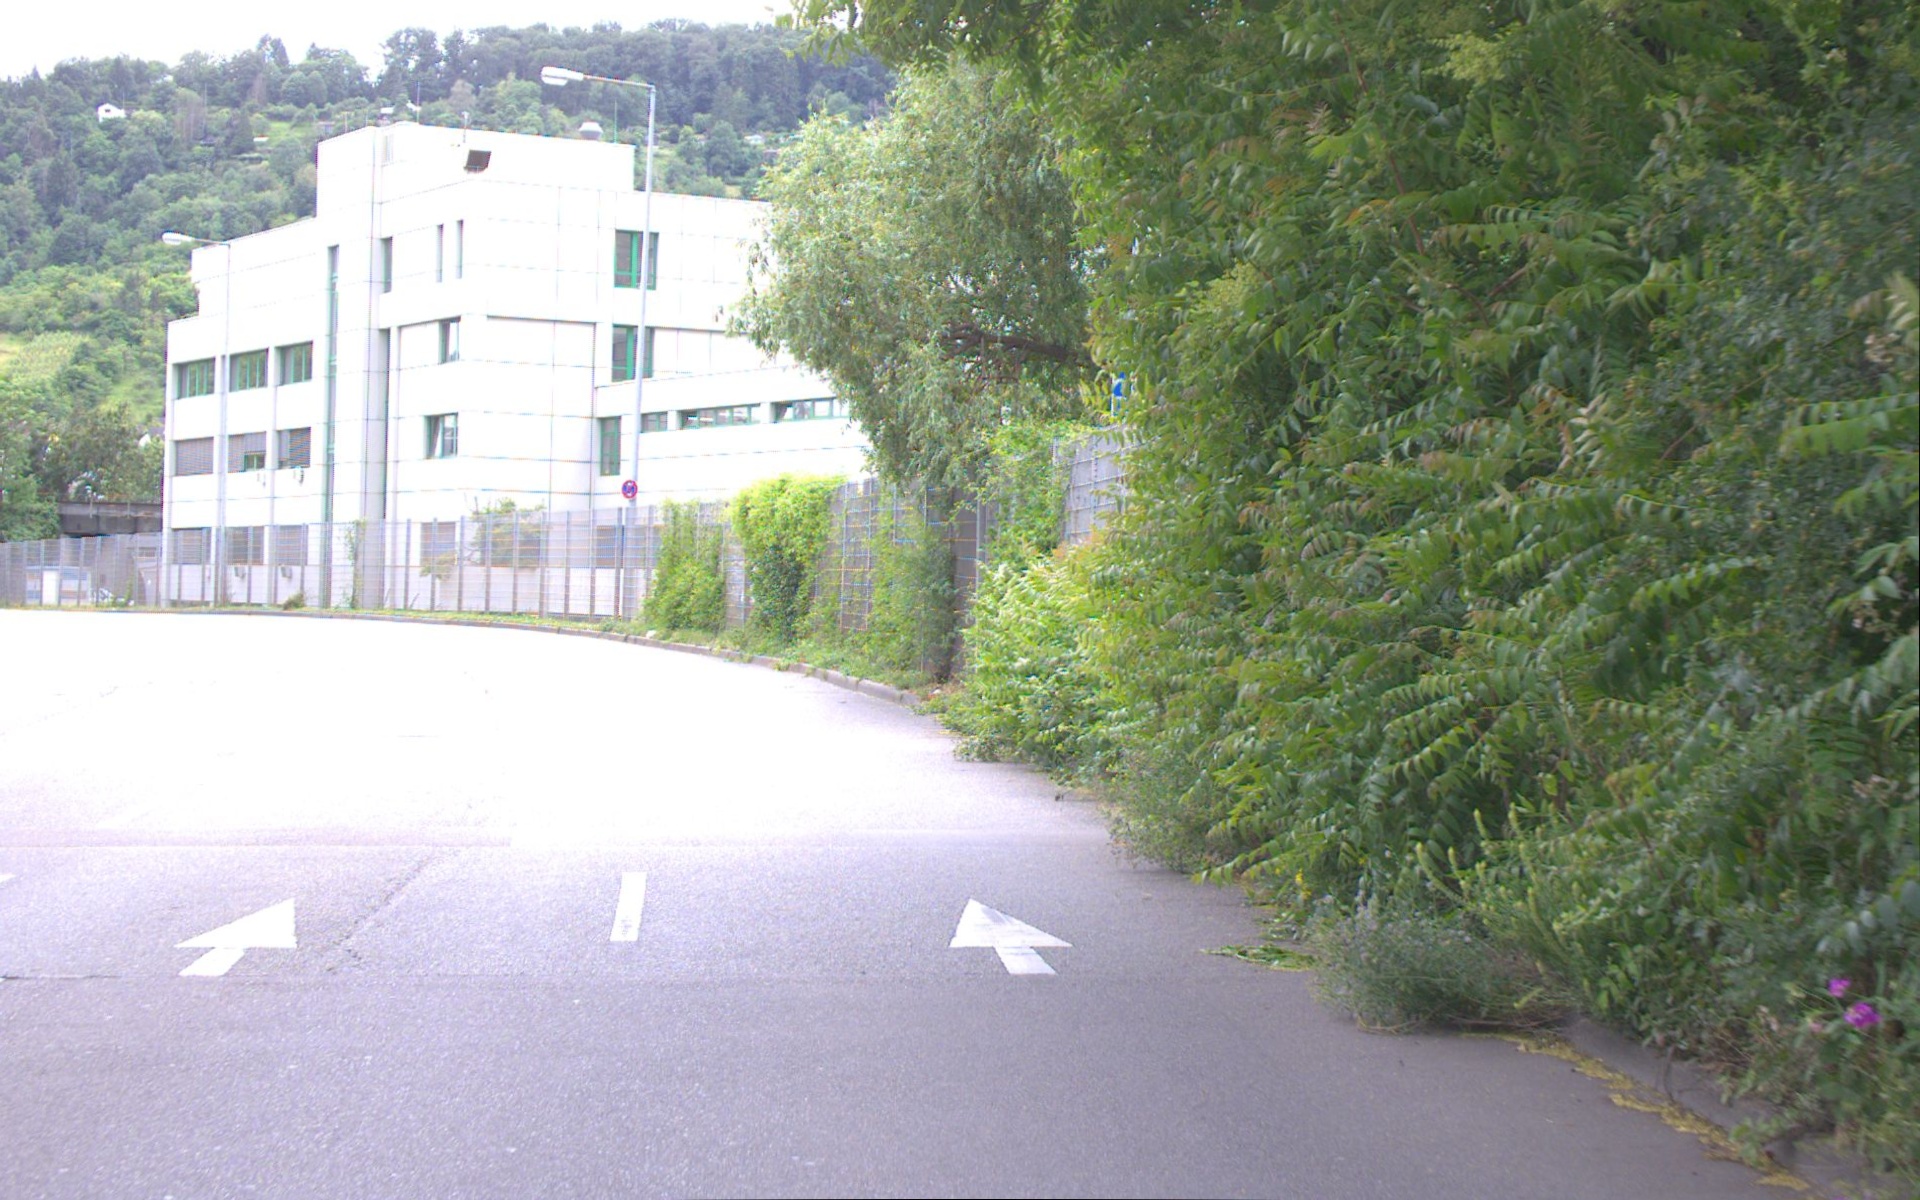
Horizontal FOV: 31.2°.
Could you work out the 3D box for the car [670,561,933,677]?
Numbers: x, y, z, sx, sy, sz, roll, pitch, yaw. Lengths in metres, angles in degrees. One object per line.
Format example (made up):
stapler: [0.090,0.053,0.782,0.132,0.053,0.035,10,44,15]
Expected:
car: [-3.609,0.400,77.213,6.165,2.255,1.995,3,0,42]
